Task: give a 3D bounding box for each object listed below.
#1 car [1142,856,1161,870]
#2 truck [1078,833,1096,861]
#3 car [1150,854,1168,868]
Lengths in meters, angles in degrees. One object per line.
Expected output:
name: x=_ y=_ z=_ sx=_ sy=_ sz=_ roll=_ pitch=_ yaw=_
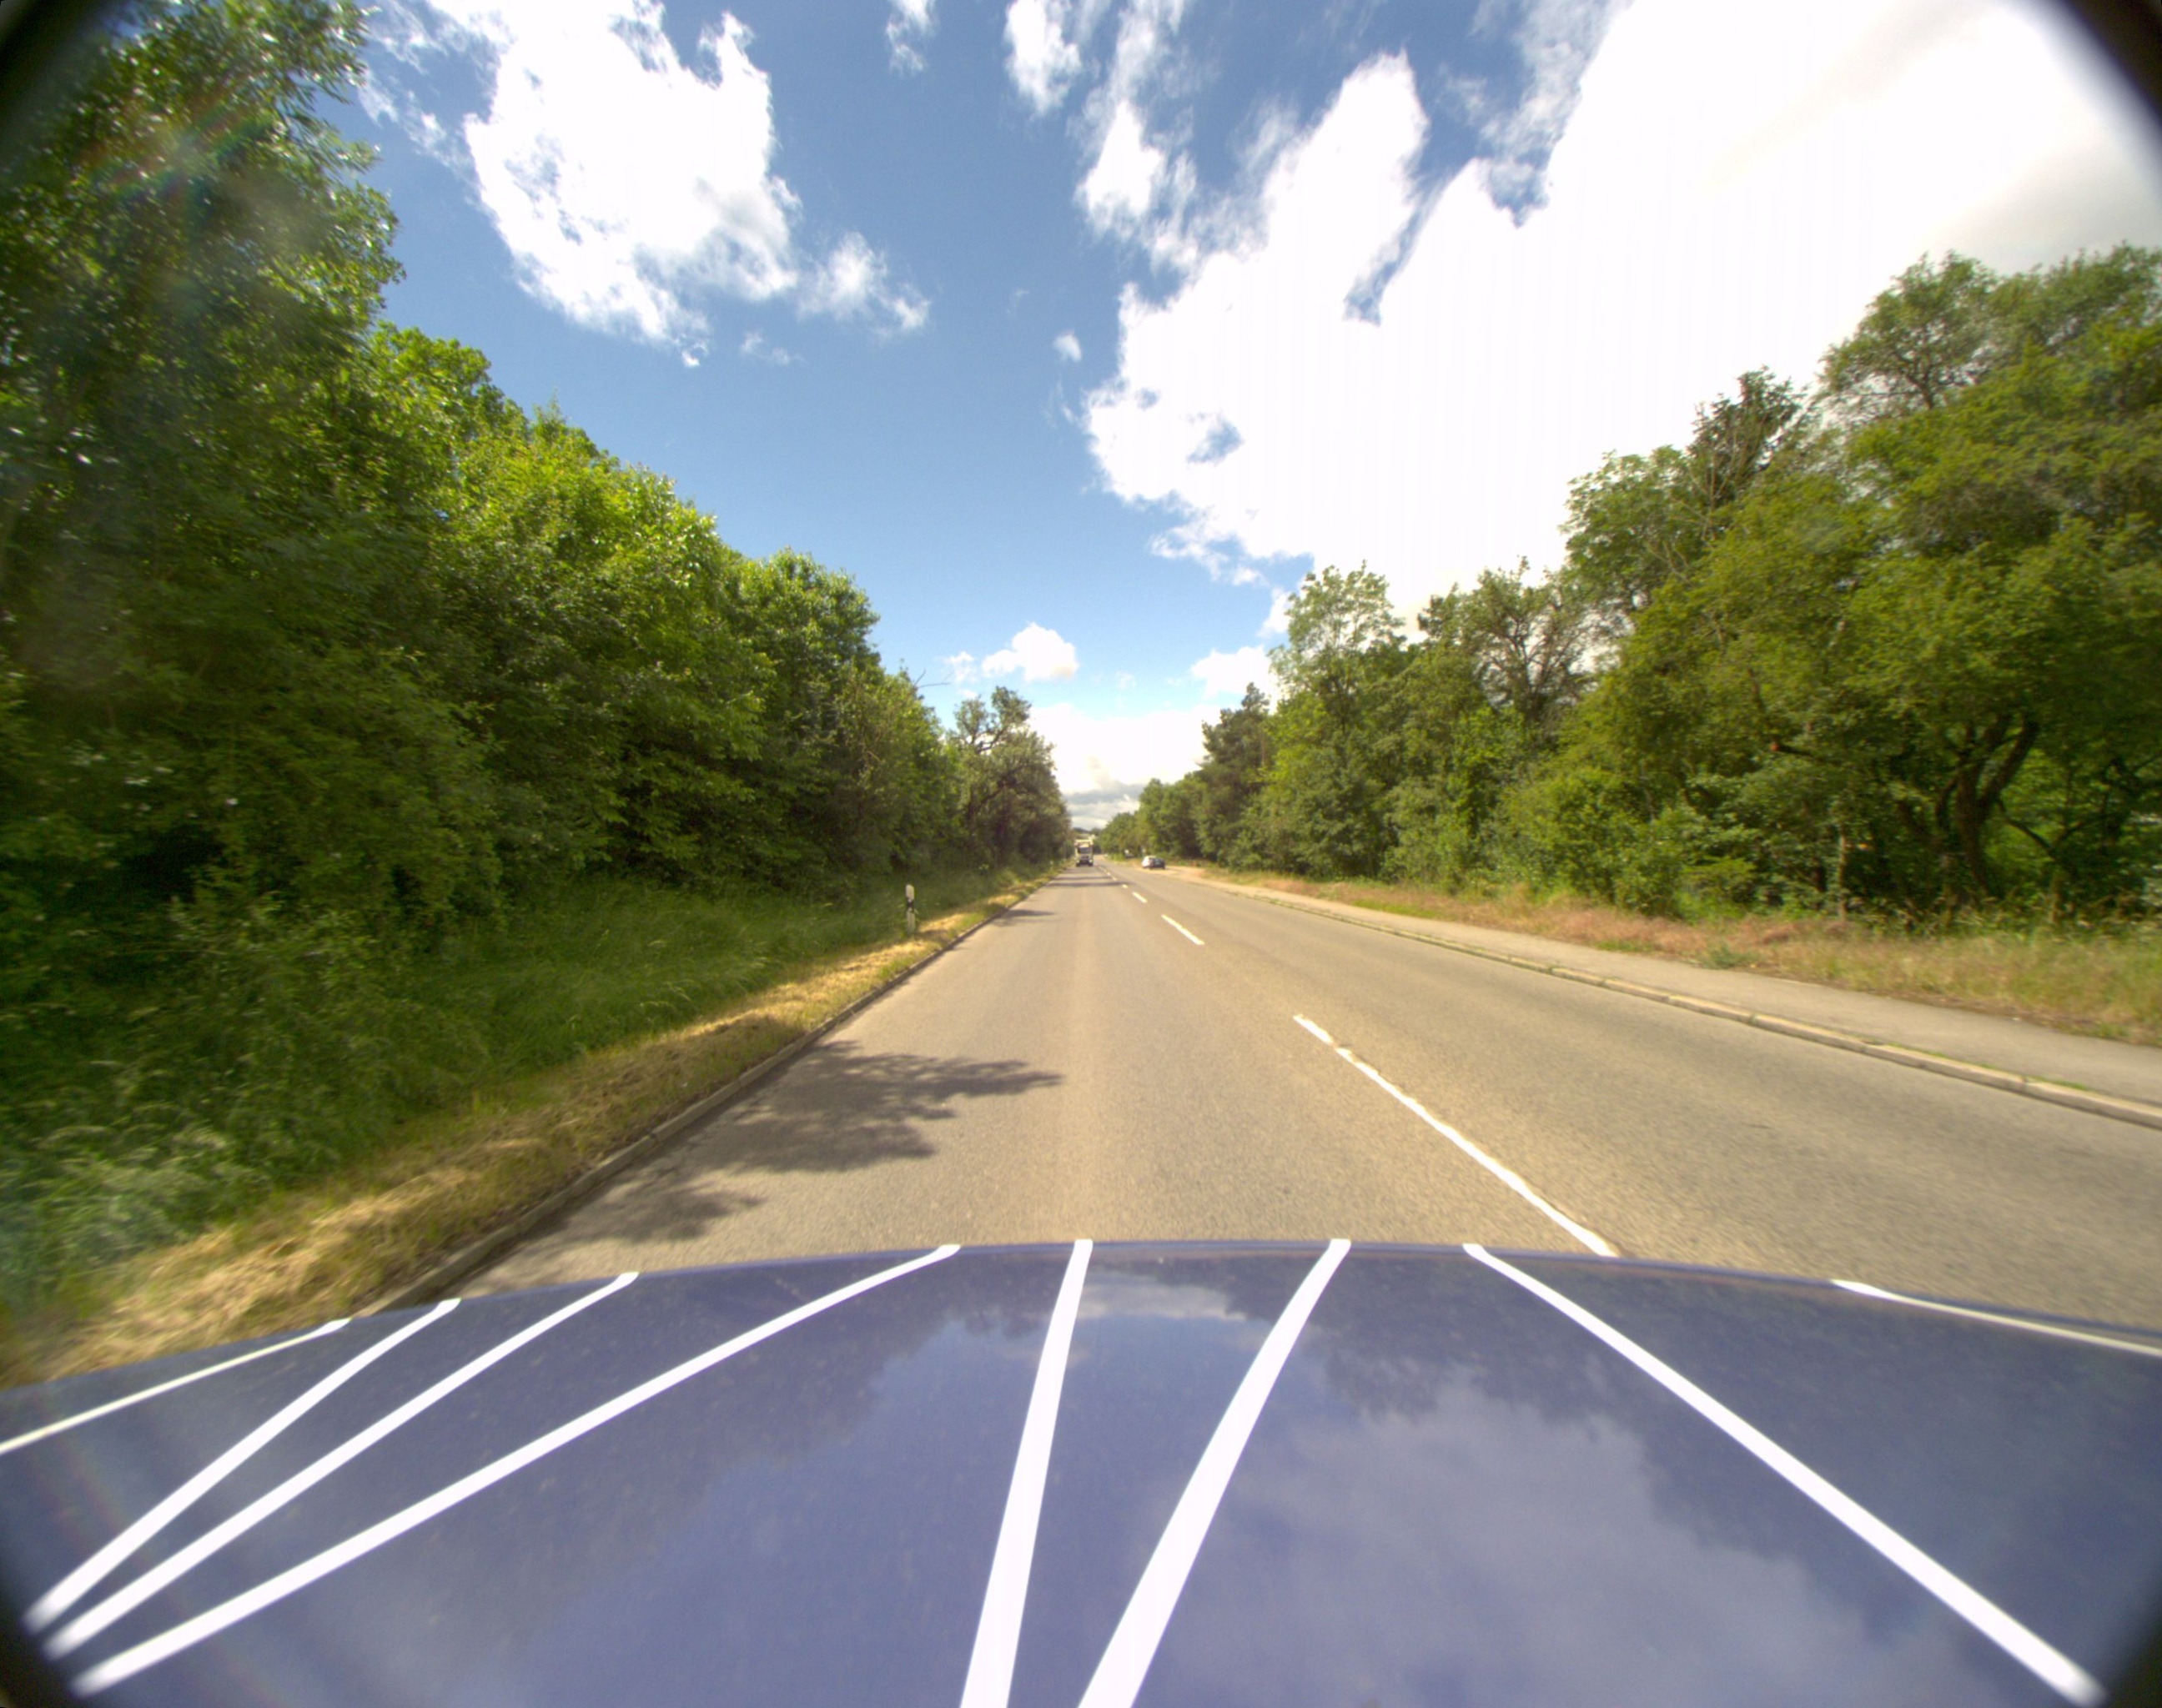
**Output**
car: x=8.510 y=1.078 z=92.308 sx=1.772 sy=1.461 sz=4.245 roll=-2 pitch=0 yaw=-1
truck: x=0.845 y=-0.943 z=108.959 sx=2.306 sy=3.790 sz=8.182 roll=-2 pitch=0 yaw=0
car: x=8.627 y=0.751 z=84.785 sx=1.772 sy=1.399 sz=4.266 roll=-2 pitch=0 yaw=3
